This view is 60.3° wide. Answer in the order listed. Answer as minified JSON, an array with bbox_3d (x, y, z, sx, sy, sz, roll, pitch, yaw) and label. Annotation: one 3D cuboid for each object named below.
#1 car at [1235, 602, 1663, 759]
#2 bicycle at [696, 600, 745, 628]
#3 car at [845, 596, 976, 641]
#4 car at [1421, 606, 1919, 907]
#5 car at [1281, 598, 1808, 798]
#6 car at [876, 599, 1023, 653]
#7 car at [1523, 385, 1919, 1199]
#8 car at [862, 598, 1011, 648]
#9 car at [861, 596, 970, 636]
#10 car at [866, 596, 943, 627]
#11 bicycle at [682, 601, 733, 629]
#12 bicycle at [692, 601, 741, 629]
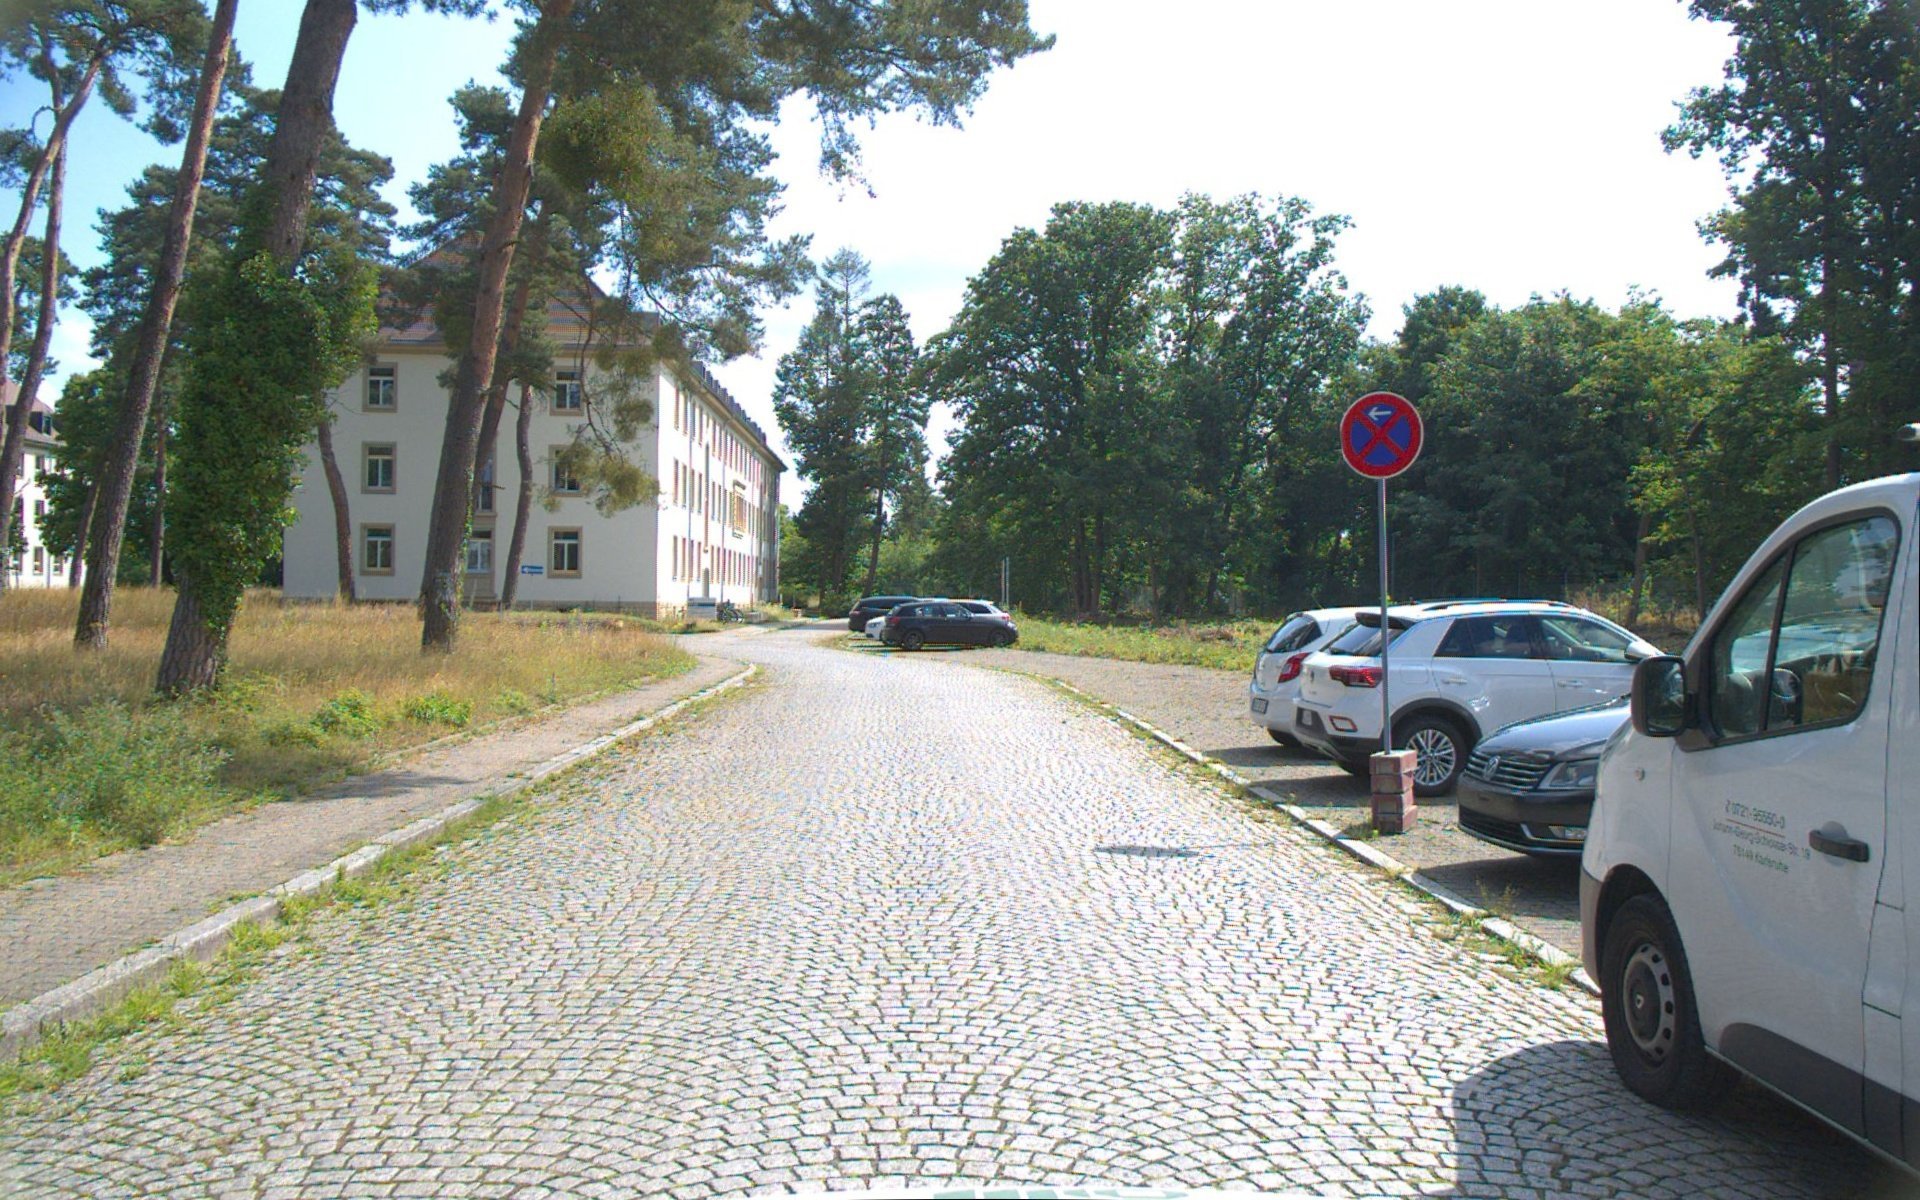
[{"bbox_3d":[5.048,0.800,17.379,3.963,1.489,1.702,-1,0,-5],"label":"car"},{"bbox_3d":[-11.300,0.659,78.037,2.176,1.282,0.623,0,0,0],"label":"bicycle"},{"bbox_3d":[-1.838,0.686,61.244,4.757,1.580,1.878,-1,-1,-4],"label":"car"},{"bbox_3d":[5.147,0.808,9.697,4.368,1.501,1.743,-1,0,-7],"label":"car"},{"bbox_3d":[4.923,0.780,14.253,3.909,1.533,1.745,-1,0,-5],"label":"car"},{"bbox_3d":[-0.345,0.783,50.795,4.246,1.526,1.825,-1,1,-11],"label":"car"},{"bbox_3d":[3.123,0.560,3.465,1.875,2.089,5.677,0,0,-1],"label":"car"},{"bbox_3d":[-0.794,0.744,53.934,4.766,1.498,1.873,-1,1,-4],"label":"car"},{"bbox_3d":[-1.830,0.644,66.561,4.311,1.510,1.764,-1,-1,-4],"label":"car"},{"bbox_3d":[-2.960,0.632,89.340,4.101,1.570,1.820,-1,-1,-1],"label":"car"},{"bbox_3d":[-11.482,0.678,75.211,2.175,1.282,0.623,0,0,4],"label":"bicycle"},{"bbox_3d":[-11.339,0.683,76.958,2.175,1.282,0.623,0,0,4],"label":"bicycle"}]
